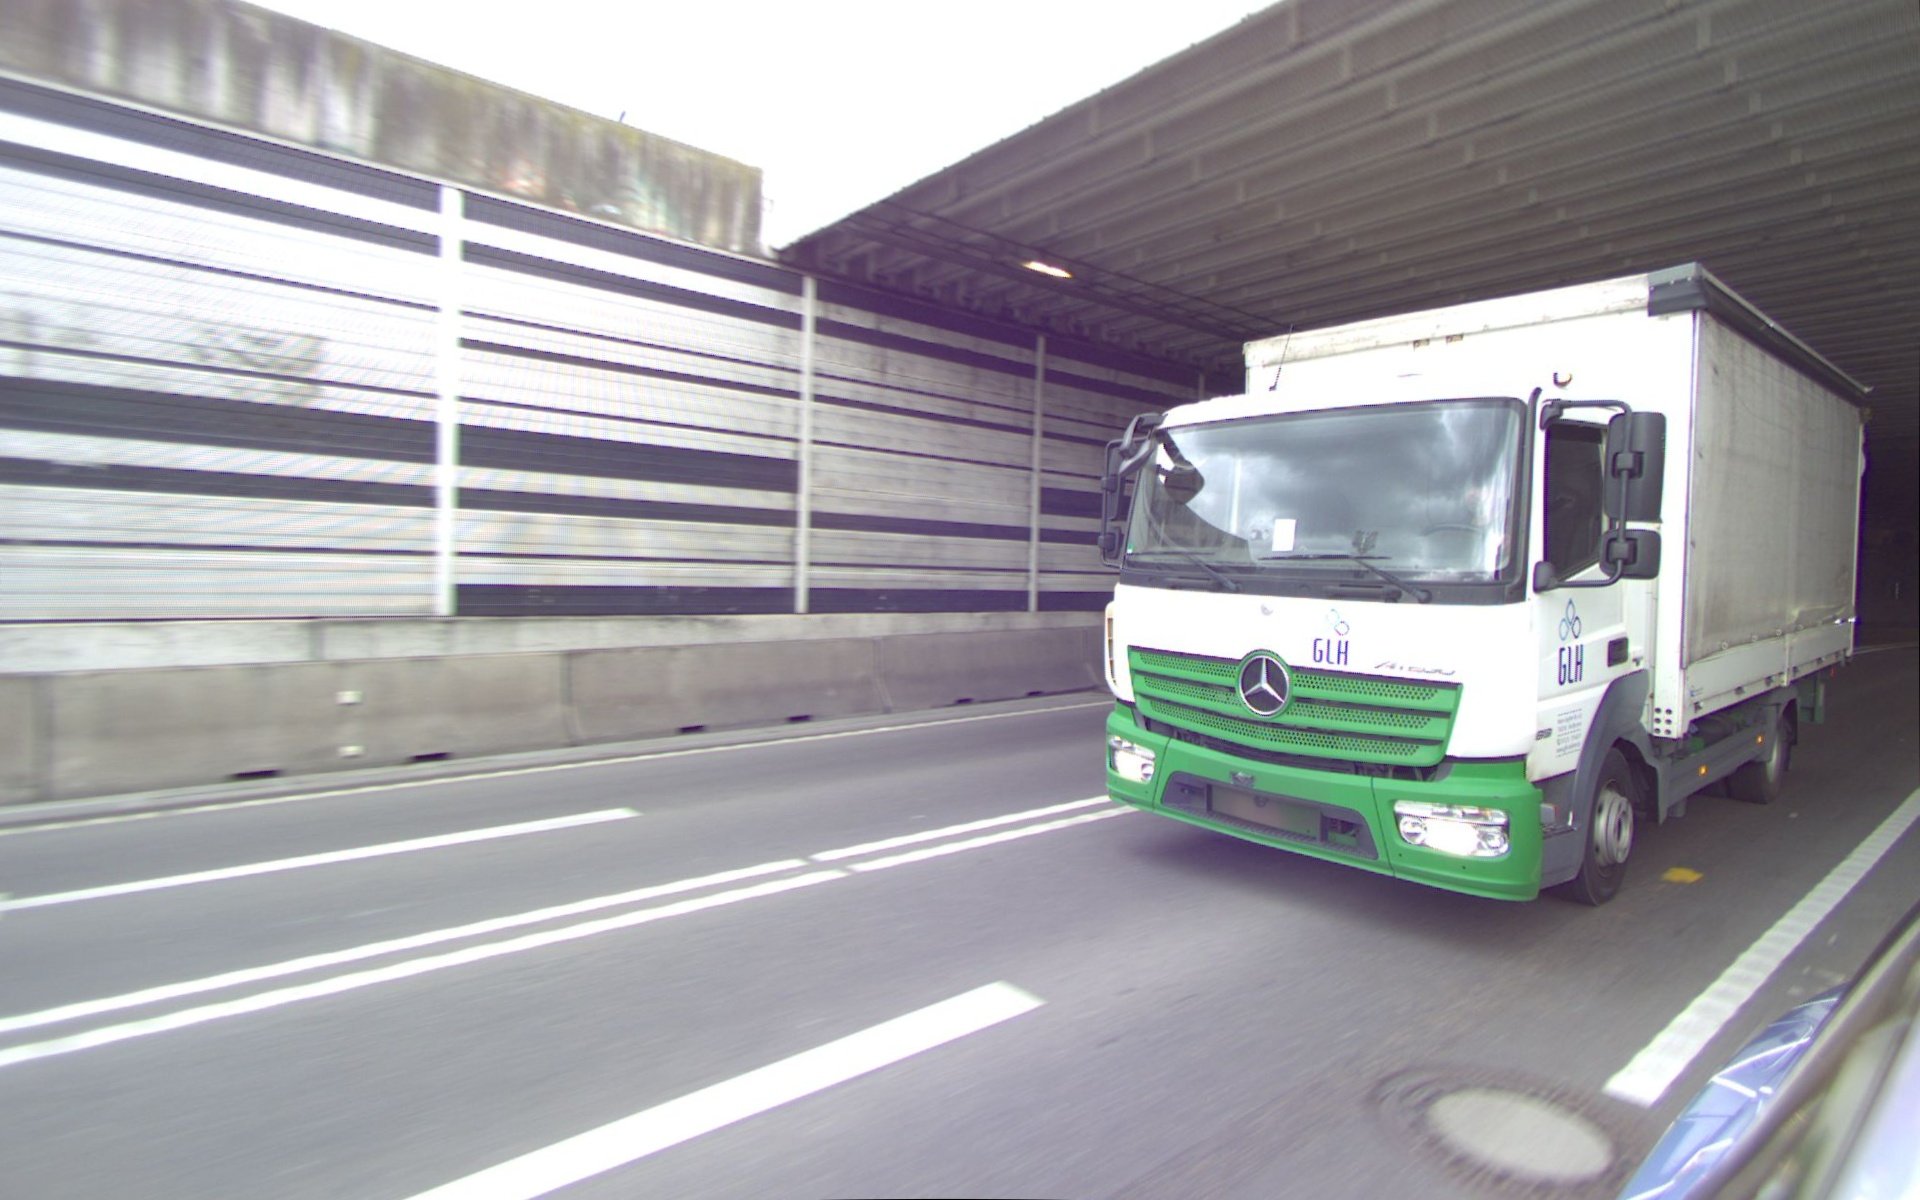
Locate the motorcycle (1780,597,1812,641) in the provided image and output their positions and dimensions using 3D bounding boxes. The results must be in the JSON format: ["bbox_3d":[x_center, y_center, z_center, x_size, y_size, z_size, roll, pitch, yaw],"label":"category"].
[{"bbox_3d":[19.325,0.425,23.401,0.547,0.988,1.808,0,0,40],"label":"motorcycle"}]

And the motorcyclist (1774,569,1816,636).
[{"bbox_3d":[19.288,0.046,23.384,0.743,1.509,0.776,0,0,40],"label":"motorcyclist"}]

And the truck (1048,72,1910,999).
[{"bbox_3d":[4.118,-0.266,6.943,7.284,3.280,2.635,0,1,-40],"label":"truck"}]
